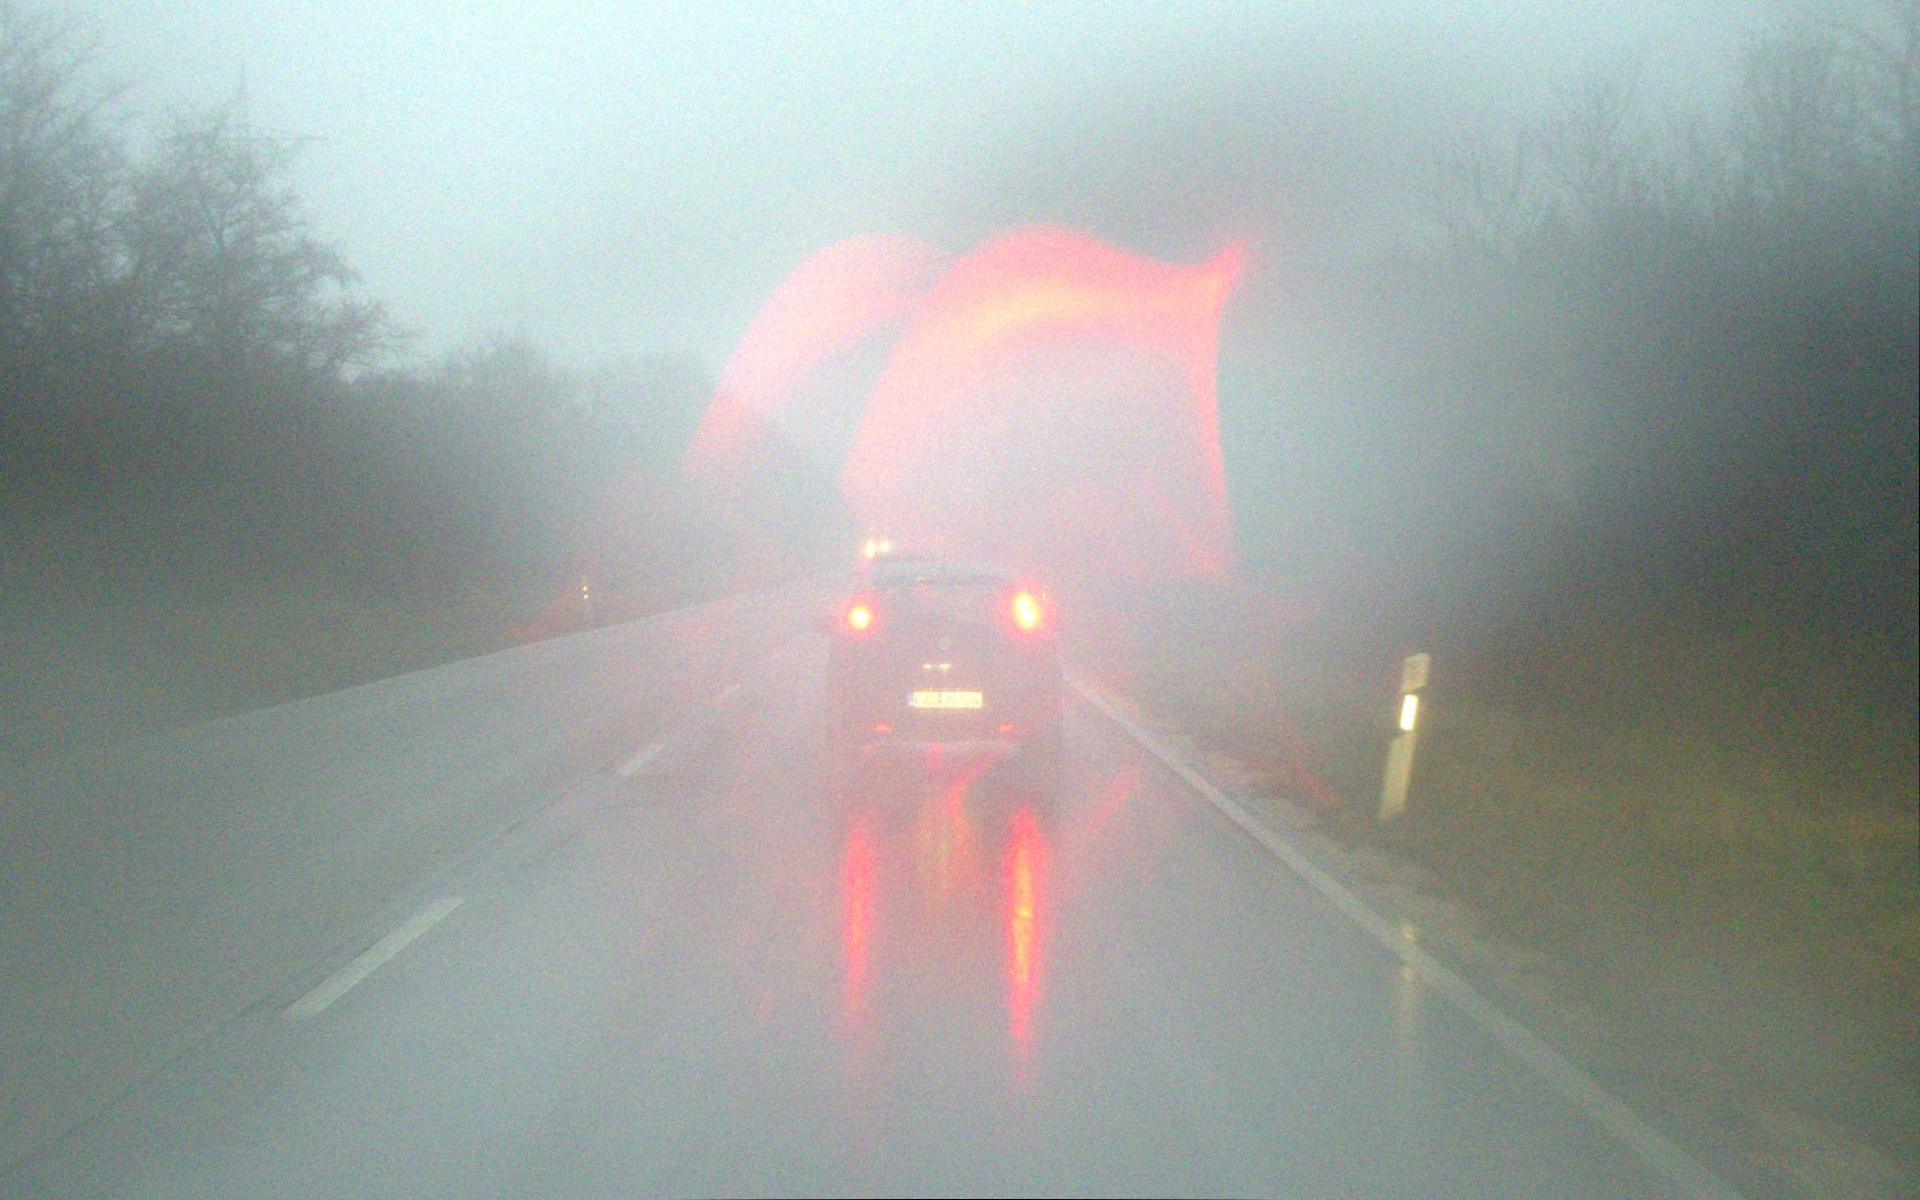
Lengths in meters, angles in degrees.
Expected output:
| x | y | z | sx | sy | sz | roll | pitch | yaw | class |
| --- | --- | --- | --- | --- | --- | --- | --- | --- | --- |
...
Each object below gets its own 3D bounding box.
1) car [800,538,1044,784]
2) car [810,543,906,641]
| x | y | z | sx | sy | sz | roll | pitch | yaw | class |
| --- | --- | --- | --- | --- | --- | --- | --- | --- | --- |
| -0.284 | 0.398 | 25.354 | 1.648 | 1.666 | 3.514 | 1 | 1 | -1 | car |
| -1.916 | -0.165 | 65.128 | 1.733 | 1.773 | 4.000 | 1 | 1 | -1 | car |
